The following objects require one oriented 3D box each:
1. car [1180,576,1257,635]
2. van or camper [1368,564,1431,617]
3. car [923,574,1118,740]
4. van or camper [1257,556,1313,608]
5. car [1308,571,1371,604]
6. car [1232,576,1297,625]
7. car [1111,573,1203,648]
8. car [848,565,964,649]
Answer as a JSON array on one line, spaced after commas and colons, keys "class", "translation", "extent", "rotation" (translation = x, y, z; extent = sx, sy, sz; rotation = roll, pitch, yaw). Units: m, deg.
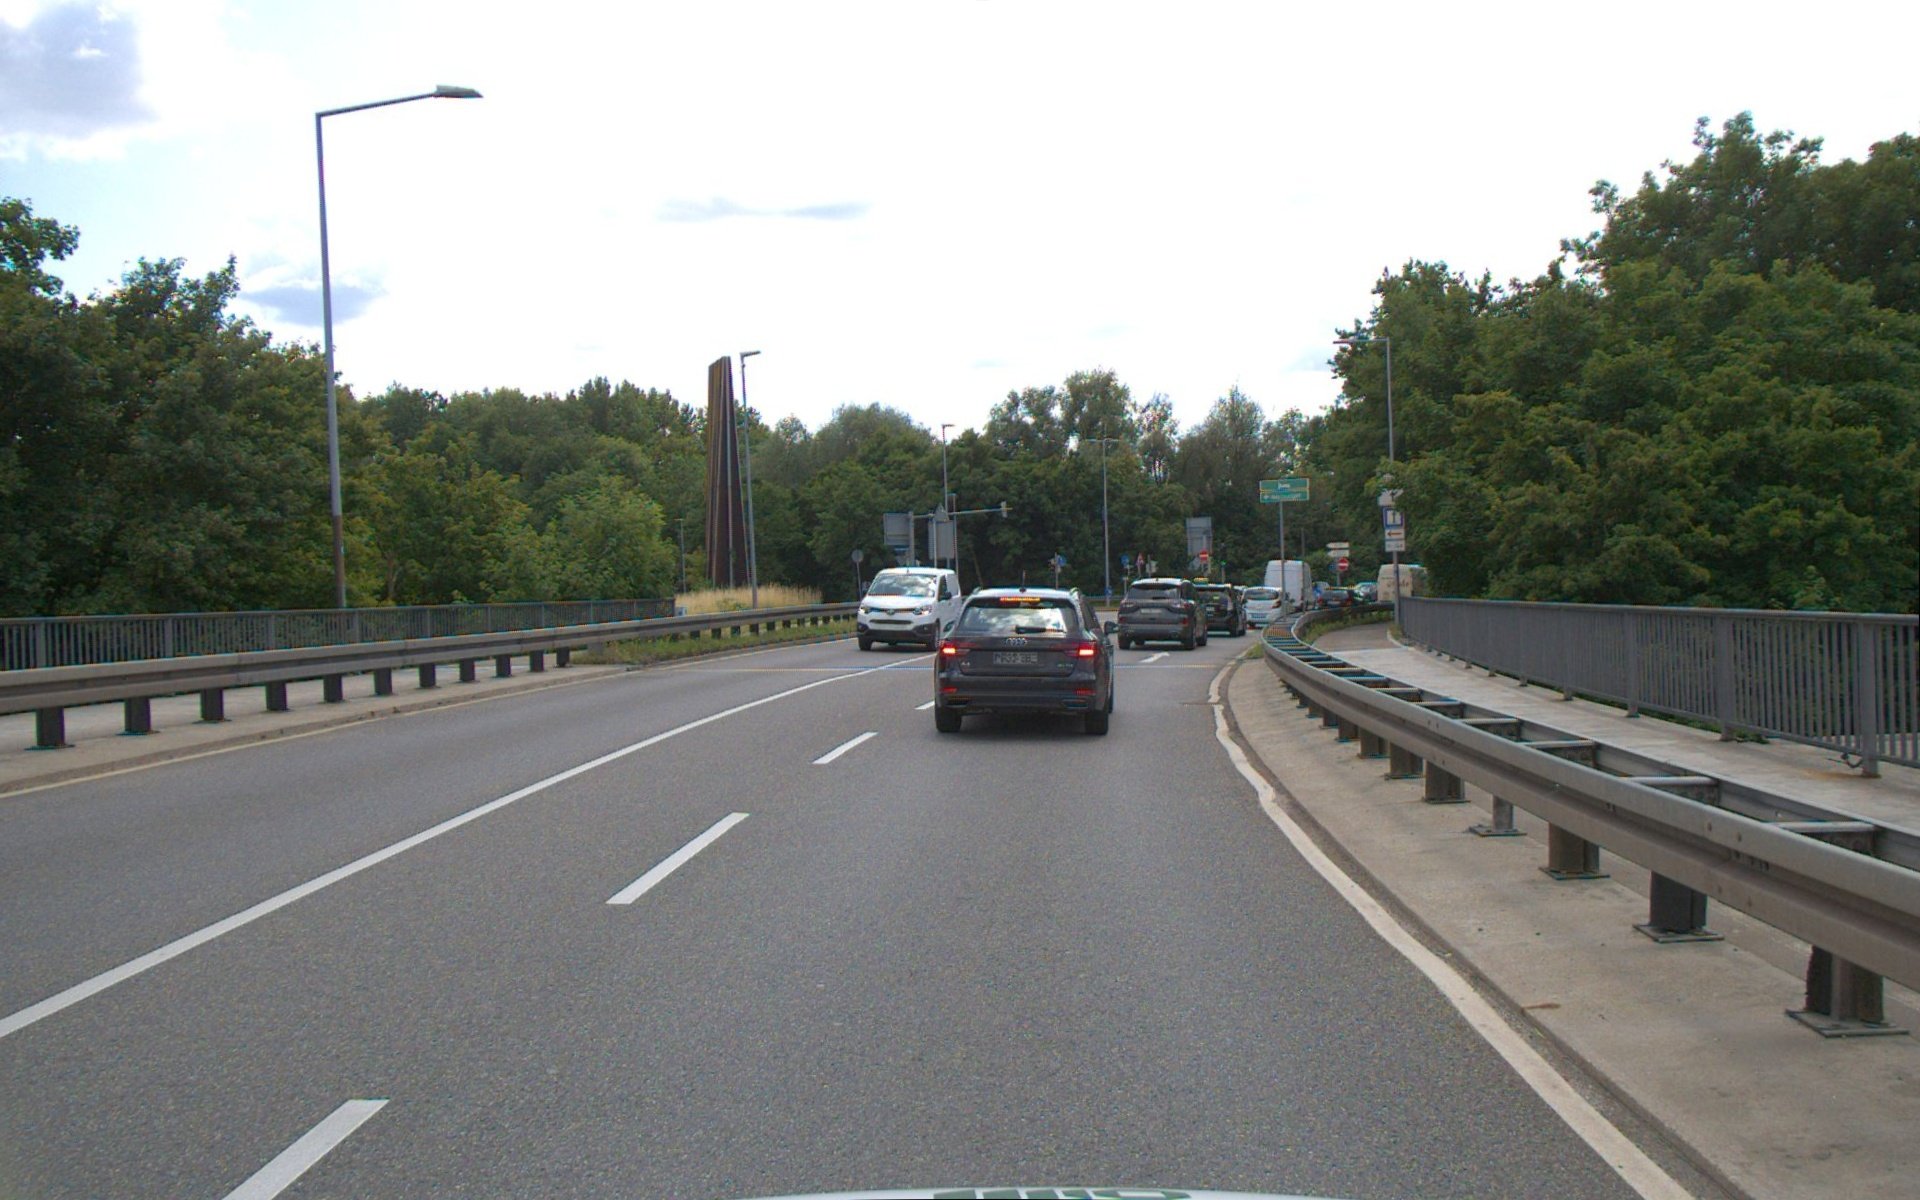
[{"class": "car", "translation": [7.744, 0.119, 49.283], "extent": [1.697, 1.680, 3.858], "rotation": [0, 1, 18]}, {"class": "van or camper", "translation": [22.525, -0.522, 84.645], "extent": [1.958, 2.635, 4.079], "rotation": [1, 2, 33]}, {"class": "car", "translation": [0.762, 0.502, 17.747], "extent": [1.789, 1.517, 4.210], "rotation": [0, 1, 6]}, {"class": "van or camper", "translation": [15.666, -0.844, 79.527], "extent": [2.224, 2.381, 5.244], "rotation": [1, 0, 15]}, {"class": "car", "translation": [16.859, -0.544, 73.378], "extent": [1.652, 1.422, 3.670], "rotation": [0, 0, 31]}, {"class": "car", "translation": [11.015, 0.029, 59.630], "extent": [1.697, 1.680, 3.856], "rotation": [1, -1, 20]}, {"class": "car", "translation": [4.784, 0.218, 39.830], "extent": [1.782, 1.680, 3.859], "rotation": [1, 1, 13]}, {"class": "car", "translation": [-1.148, 0.127, 37.535], "extent": [1.774, 1.784, 4.309], "rotation": [1, 1, 10]}]
